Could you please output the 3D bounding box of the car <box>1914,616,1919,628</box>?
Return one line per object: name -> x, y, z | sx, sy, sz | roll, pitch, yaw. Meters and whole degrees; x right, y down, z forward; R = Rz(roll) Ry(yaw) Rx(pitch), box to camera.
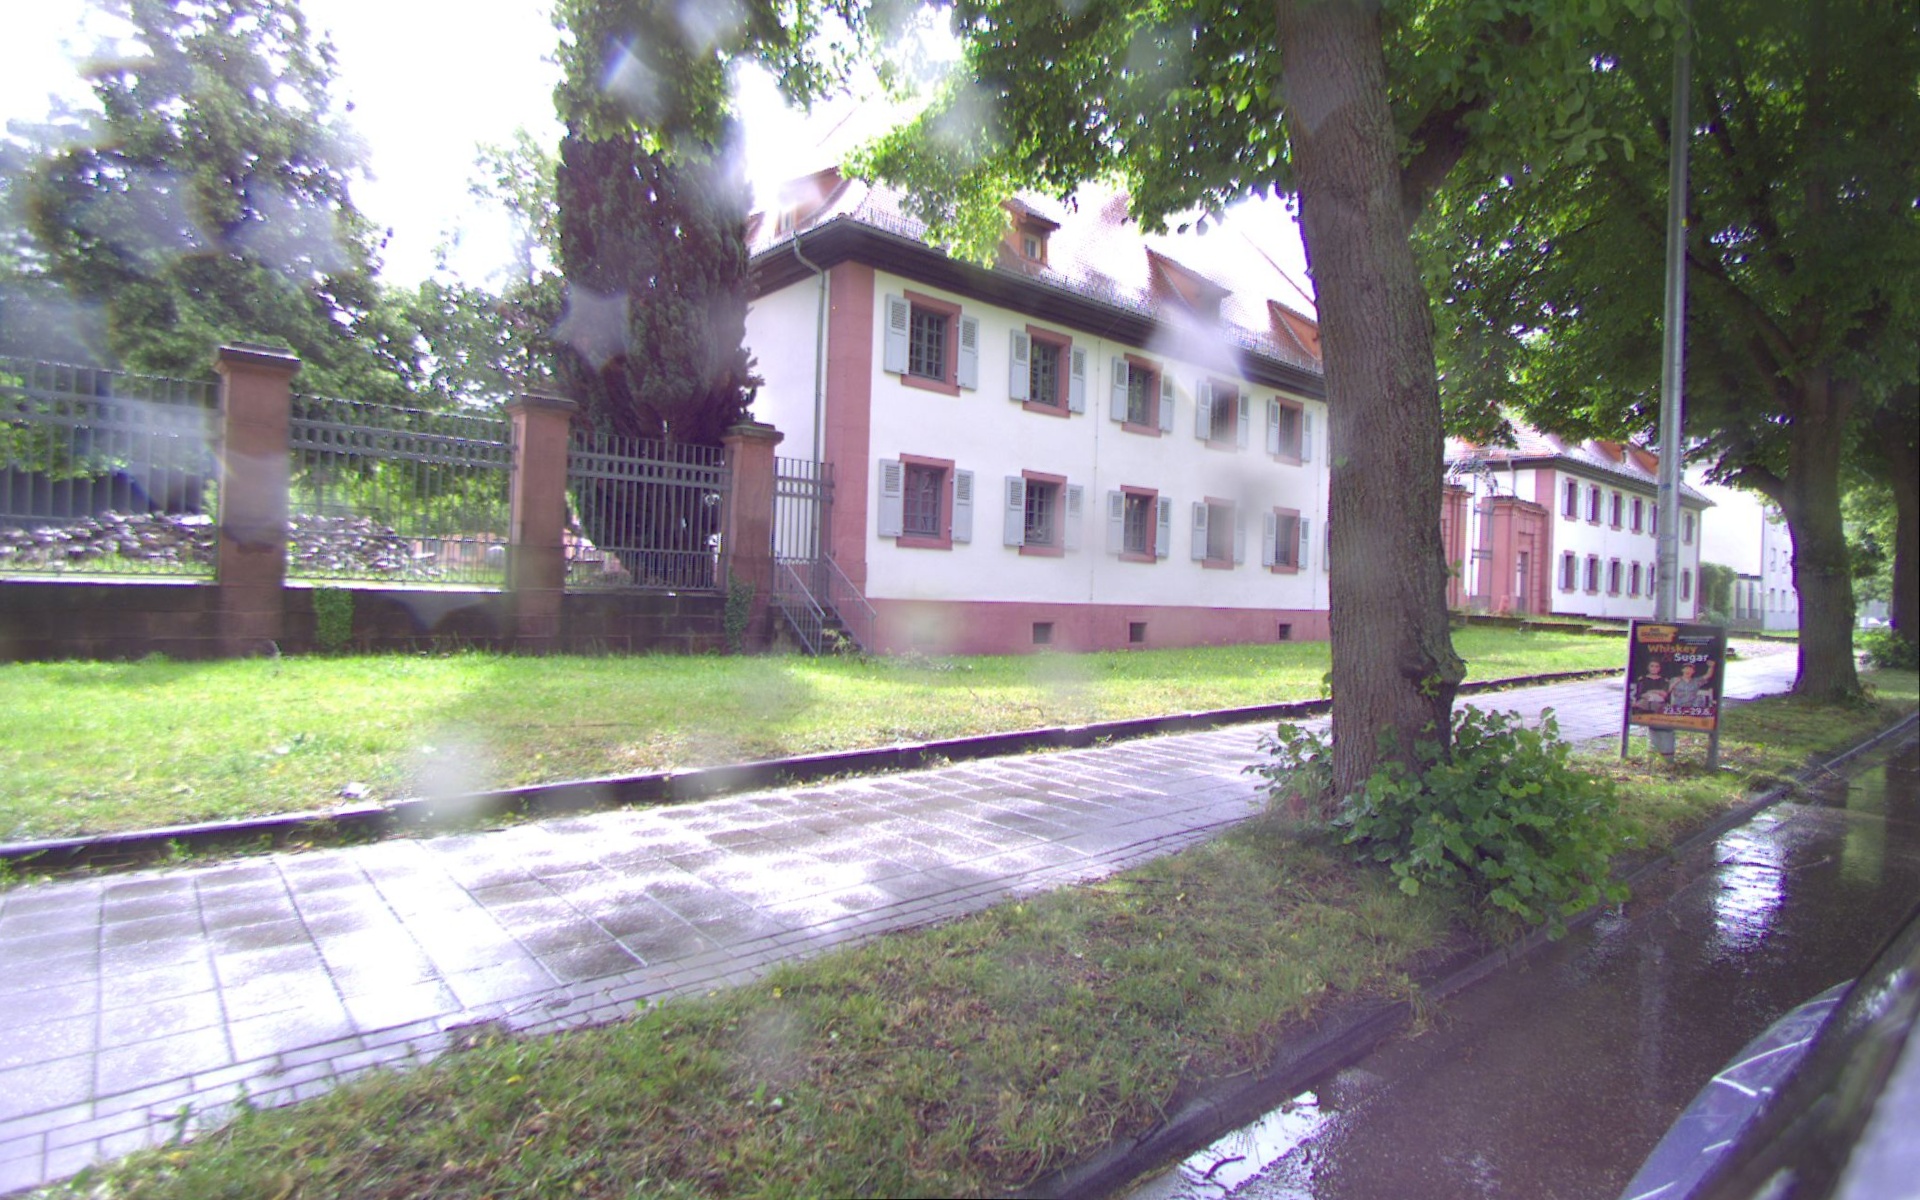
car -> 109.386, 2.548, 113.337 | 1.462, 1.252, 3.467 | 2, 1, -20
